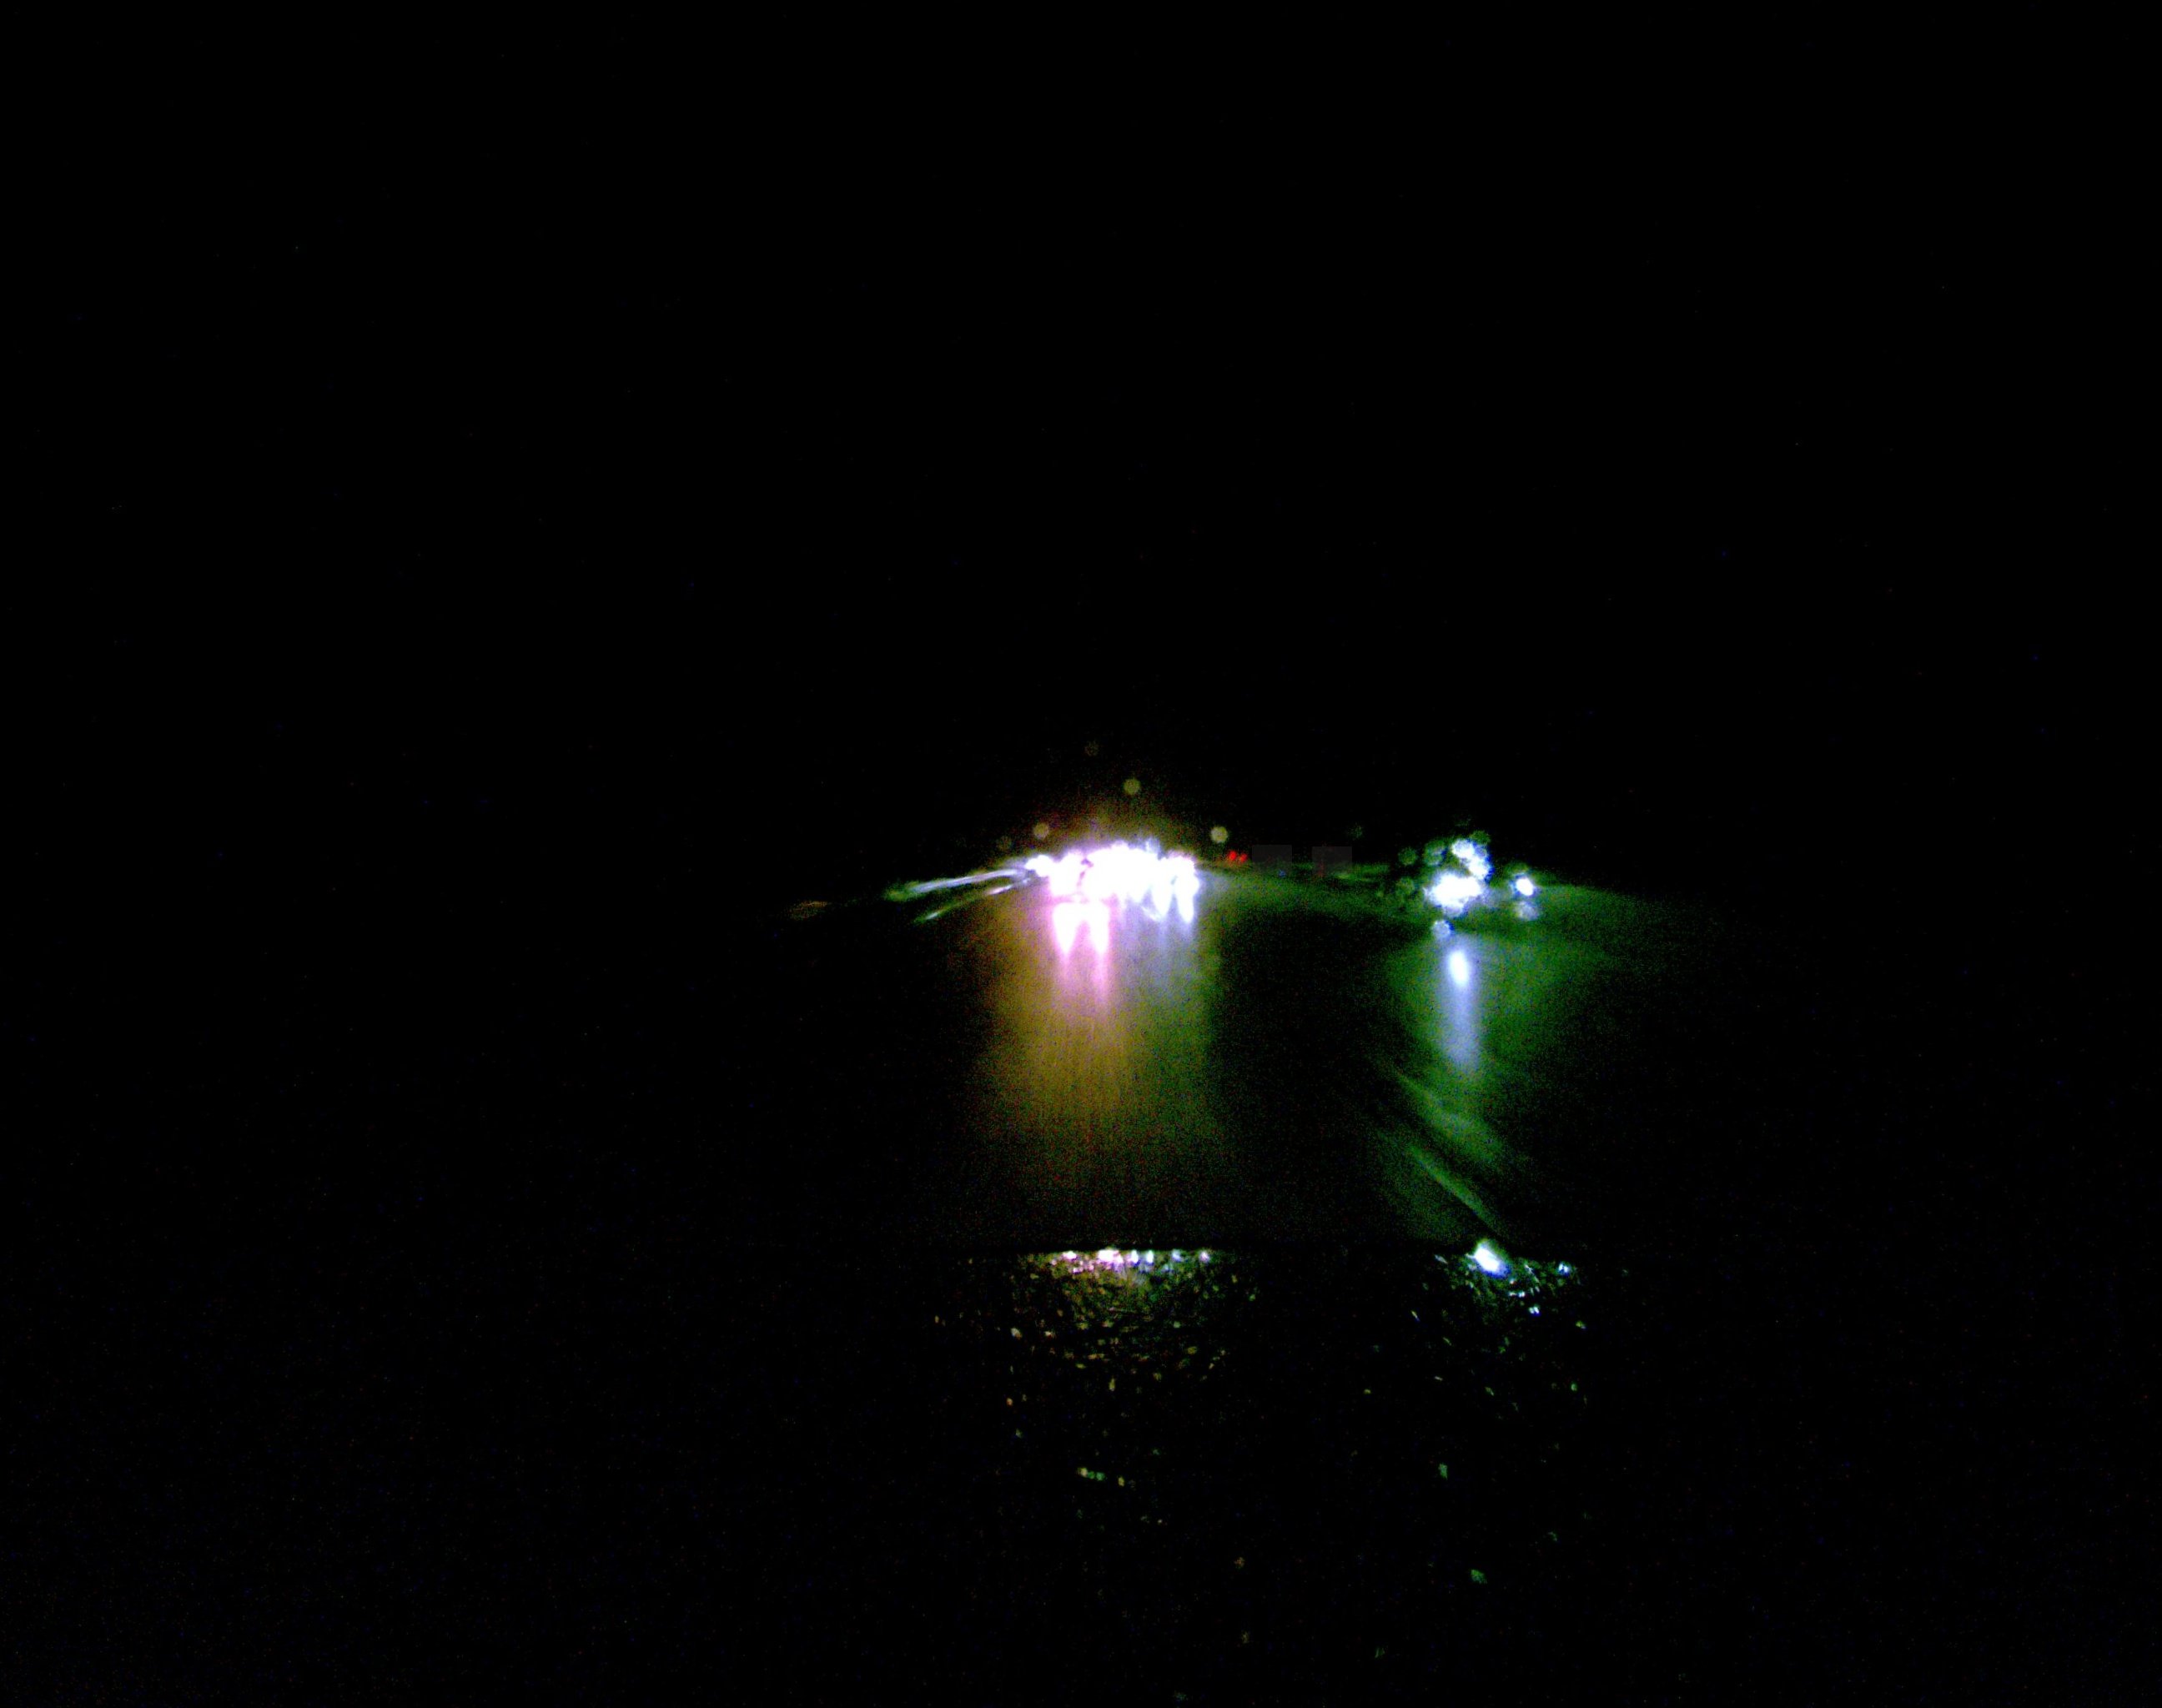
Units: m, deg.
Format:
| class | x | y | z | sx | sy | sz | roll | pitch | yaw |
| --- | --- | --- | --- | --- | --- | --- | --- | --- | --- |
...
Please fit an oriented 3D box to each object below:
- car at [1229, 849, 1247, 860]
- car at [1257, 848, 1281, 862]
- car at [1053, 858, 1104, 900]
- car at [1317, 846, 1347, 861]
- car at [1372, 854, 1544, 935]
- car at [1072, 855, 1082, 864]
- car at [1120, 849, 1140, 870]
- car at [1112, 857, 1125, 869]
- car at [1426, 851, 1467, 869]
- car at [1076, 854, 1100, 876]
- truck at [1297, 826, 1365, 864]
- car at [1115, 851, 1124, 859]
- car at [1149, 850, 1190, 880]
| class | x | y | z | sx | sy | sz | roll | pitch | yaw |
| --- | --- | --- | --- | --- | --- | --- | --- | --- | --- |
| car | 21.248 | 0.098 | 103.113 | 1.618 | 1.422 | 3.957 | -2 | 0 | 0 |
| car | 20.927 | 0.090 | 84.561 | 1.682 | 1.495 | 3.815 | -2 | 0 | 0 |
| car | -0.040 | 0.910 | 29.428 | 1.774 | 1.449 | 4.195 | -2 | 0 | 2 |
| car | 24.951 | -0.052 | 75.572 | 1.646 | 1.438 | 3.932 | -2 | 0 | 0 |
| car | 7.647 | 0.732 | 15.888 | 1.660 | 1.422 | 4.247 | -2 | 0 | 3 |
| car | -0.674 | 1.081 | 141.844 | 1.755 | 1.563 | 4.000 | -2 | 0 | 1 |
| car | 4.535 | 0.479 | 70.911 | 1.611 | 1.775 | 3.910 | -2 | 0 | 1 |
| car | 5.581 | 1.353 | 112.918 | 1.755 | 1.563 | 4.000 | -2 | 0 | 1 |
| car | 32.018 | 0.510 | 66.627 | 1.646 | 1.438 | 3.932 | -2 | 0 | 0 |
| car | 0.588 | 0.895 | 62.549 | 1.792 | 1.681 | 4.000 | -2 | 0 | 1 |
| truck | 33.120 | -1.116 | 101.848 | 3.418 | 4.532 | 17.598 | -2 | 0 | 1 |
| car | 8.680 | 0.143 | 171.610 | 1.800 | 1.728 | 4.000 | -2 | 0 | 1 |
| car | 5.381 | 0.631 | 46.748 | 1.960 | 1.655 | 4.916 | -2 | 0 | 1 |
